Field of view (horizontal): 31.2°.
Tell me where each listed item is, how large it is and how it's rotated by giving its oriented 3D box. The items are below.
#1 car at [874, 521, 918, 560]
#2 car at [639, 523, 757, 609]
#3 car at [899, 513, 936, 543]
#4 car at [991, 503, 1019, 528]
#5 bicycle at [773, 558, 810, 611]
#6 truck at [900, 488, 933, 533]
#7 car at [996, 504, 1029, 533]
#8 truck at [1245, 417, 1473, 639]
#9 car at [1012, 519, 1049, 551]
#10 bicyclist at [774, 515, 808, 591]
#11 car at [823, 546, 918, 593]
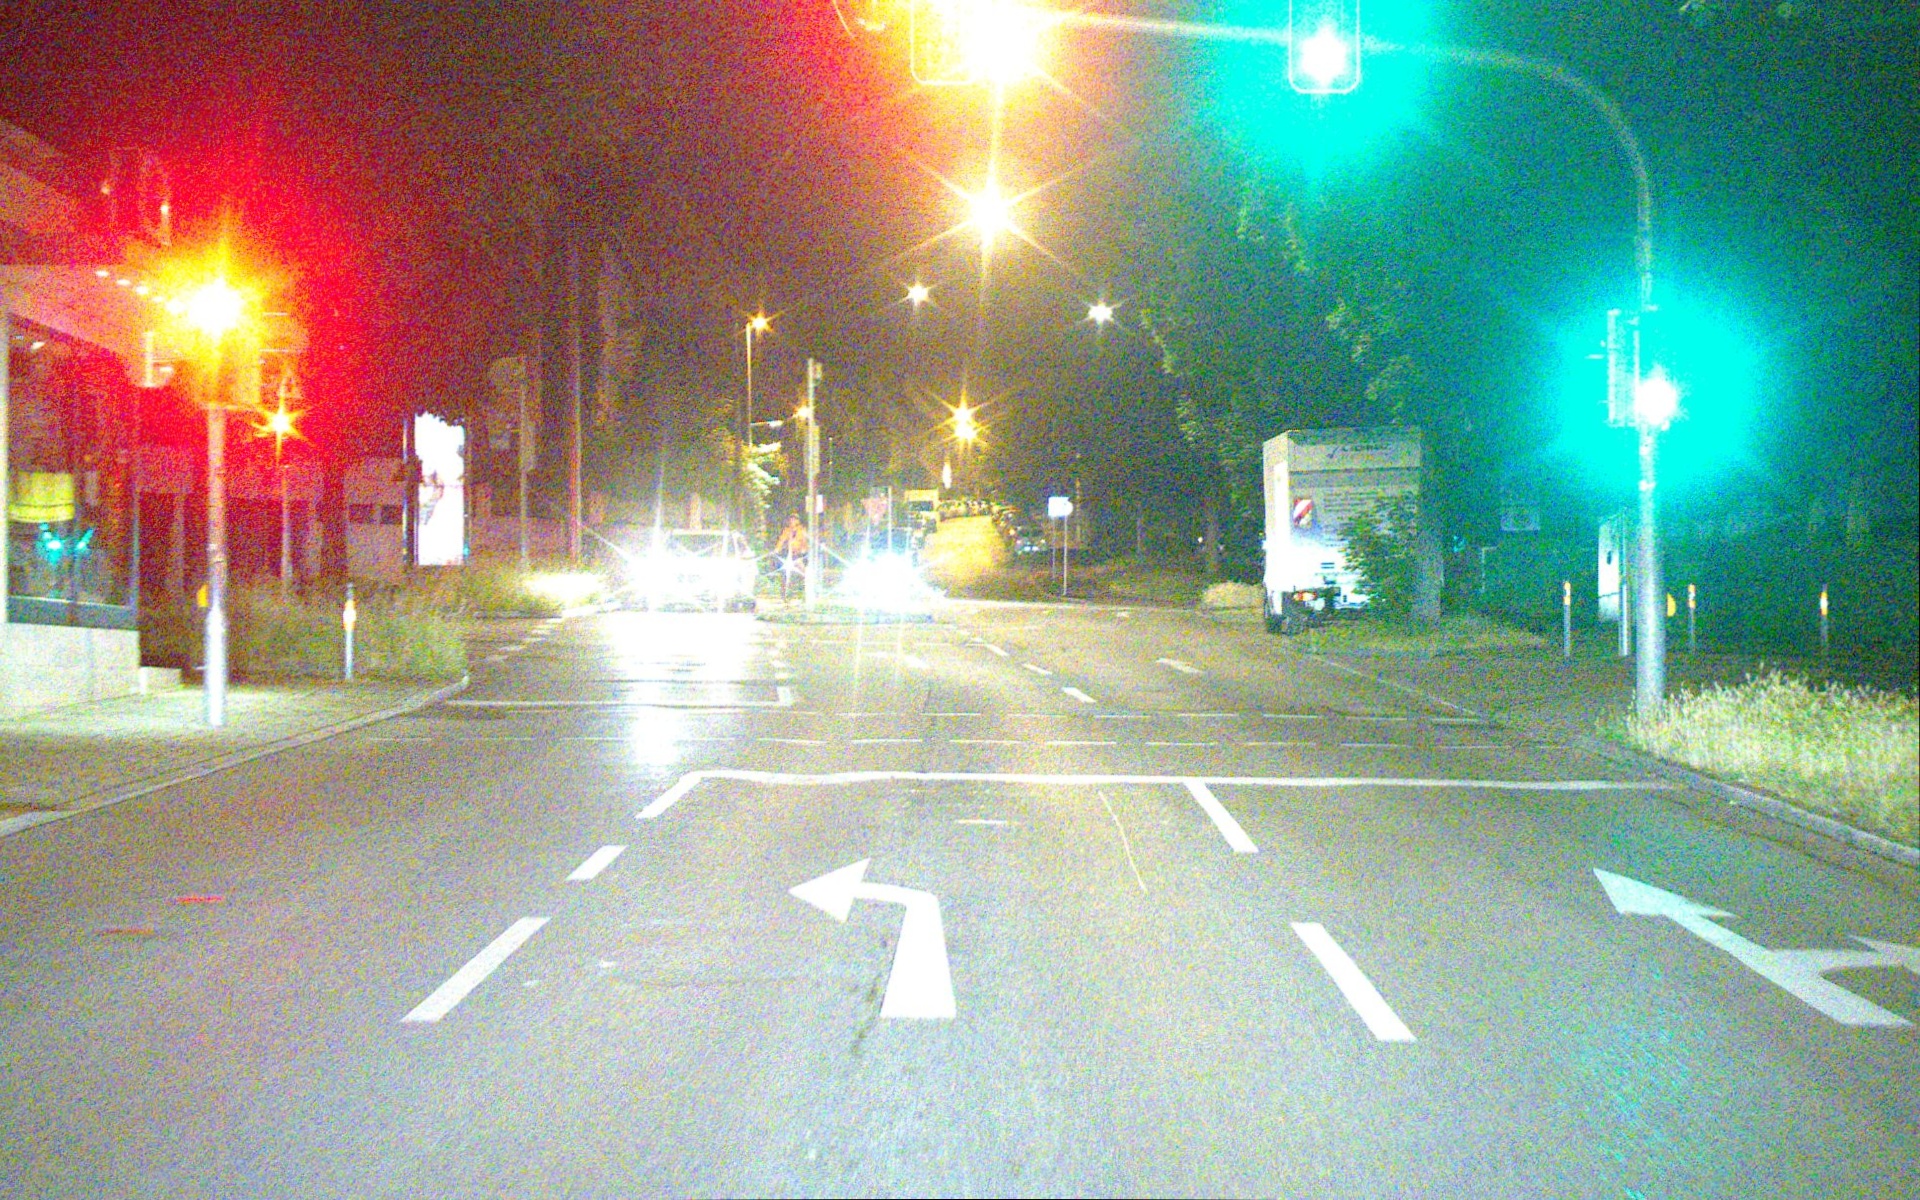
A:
[{"bbox_3d":[-2.820,-2.617,151.985,1.815,1.678,4.000,1,1,0],"label":"car"},{"bbox_3d":[-4.845,-0.656,64.020,1.857,1.529,4.028,1,1,0],"label":"car"},{"bbox_3d":[-2.201,-3.736,177.916,1.815,1.486,4.000,1,1,-1],"label":"car"},{"bbox_3d":[2.707,-5.116,208.743,1.634,1.447,3.485,1,1,0],"label":"car"},{"bbox_3d":[-3.676,-0.349,74.922,0.696,1.145,1.951,1,1,0],"label":"bicycle"},{"bbox_3d":[-2.864,-5.891,226.934,2.086,2.838,5.832,1,1,-1],"label":"truck"},{"bbox_3d":[2.703,-4.198,176.533,1.634,1.447,3.485,1,1,0],"label":"car"},{"bbox_3d":[5.902,-1.083,51.805,2.749,3.100,6.258,1,1,1],"label":"truck"},{"bbox_3d":[3.297,-3.033,160.506,1.634,1.447,3.485,1,1,0],"label":"car"},{"bbox_3d":[-3.680,-1.020,74.897,0.690,1.631,0.896,1,1,0],"label":"bicyclist"},{"bbox_3d":[-2.817,-0.971,107.105,1.916,1.384,4.584,1,1,-15],"label":"car"}]
